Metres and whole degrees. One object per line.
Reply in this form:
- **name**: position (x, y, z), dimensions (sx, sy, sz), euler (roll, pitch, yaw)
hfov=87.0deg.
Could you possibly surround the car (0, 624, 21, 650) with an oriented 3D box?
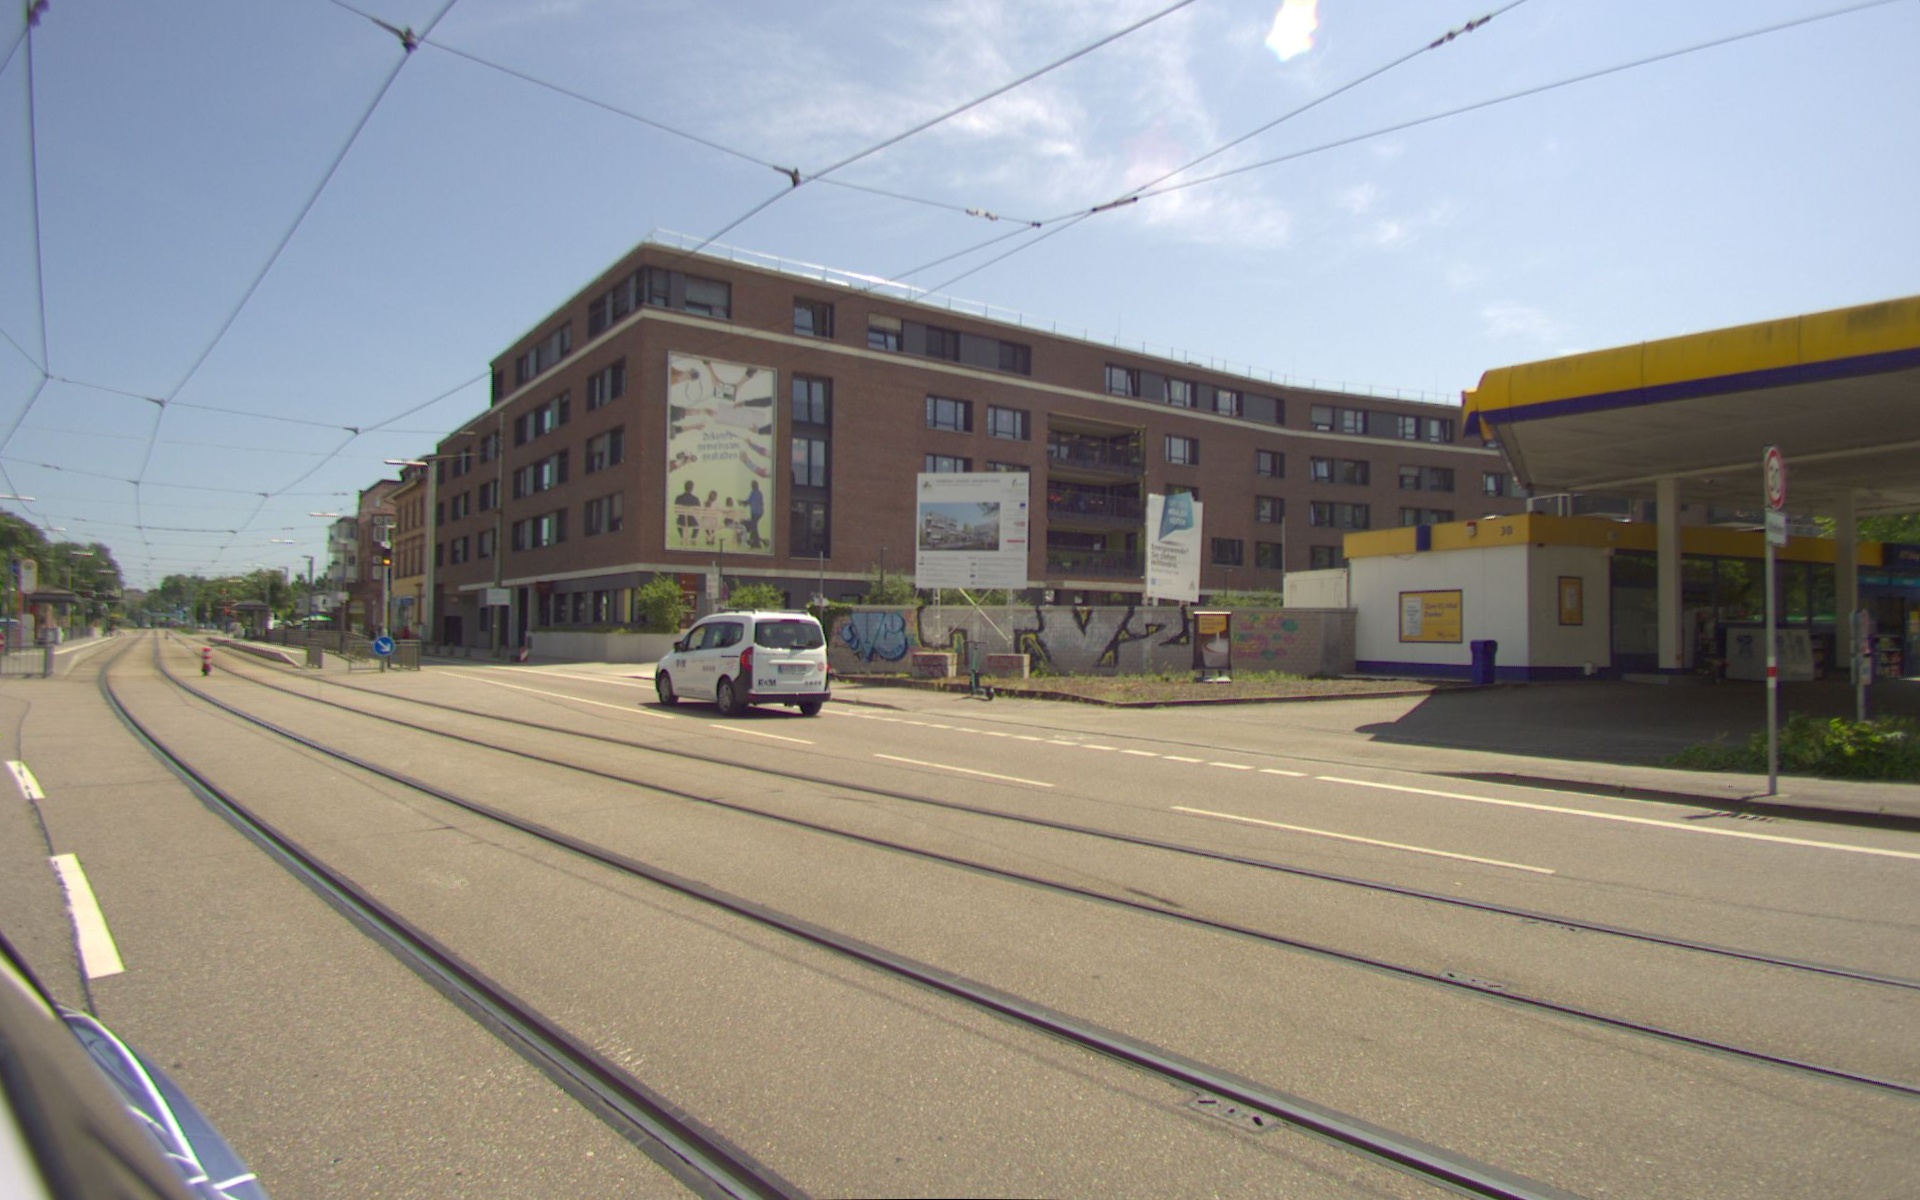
- **car**: position (-58.967, 2.260, 62.204), dimensions (1.724, 1.567, 4.490), euler (0, -1, -44)

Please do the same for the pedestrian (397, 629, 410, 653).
- **pedestrian**: position (-37.683, 2.758, 68.478), dimensions (0.595, 1.608, 0.716), euler (2, -3, -41)

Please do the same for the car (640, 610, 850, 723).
- **car**: position (-4.099, 1.134, 18.717), dimensions (1.968, 1.813, 4.562), euler (2, -2, -38)

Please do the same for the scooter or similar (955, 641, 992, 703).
- **scooter or similar**: position (0.284, 1.531, 21.902), dimensions (0.340, 1.274, 1.246), euler (0, -1, -22)

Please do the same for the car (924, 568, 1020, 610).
- **car**: position (0.401, -0.385, 39.103), dimensions (1.708, 1.479, 4.010), euler (1, -1, -34)
